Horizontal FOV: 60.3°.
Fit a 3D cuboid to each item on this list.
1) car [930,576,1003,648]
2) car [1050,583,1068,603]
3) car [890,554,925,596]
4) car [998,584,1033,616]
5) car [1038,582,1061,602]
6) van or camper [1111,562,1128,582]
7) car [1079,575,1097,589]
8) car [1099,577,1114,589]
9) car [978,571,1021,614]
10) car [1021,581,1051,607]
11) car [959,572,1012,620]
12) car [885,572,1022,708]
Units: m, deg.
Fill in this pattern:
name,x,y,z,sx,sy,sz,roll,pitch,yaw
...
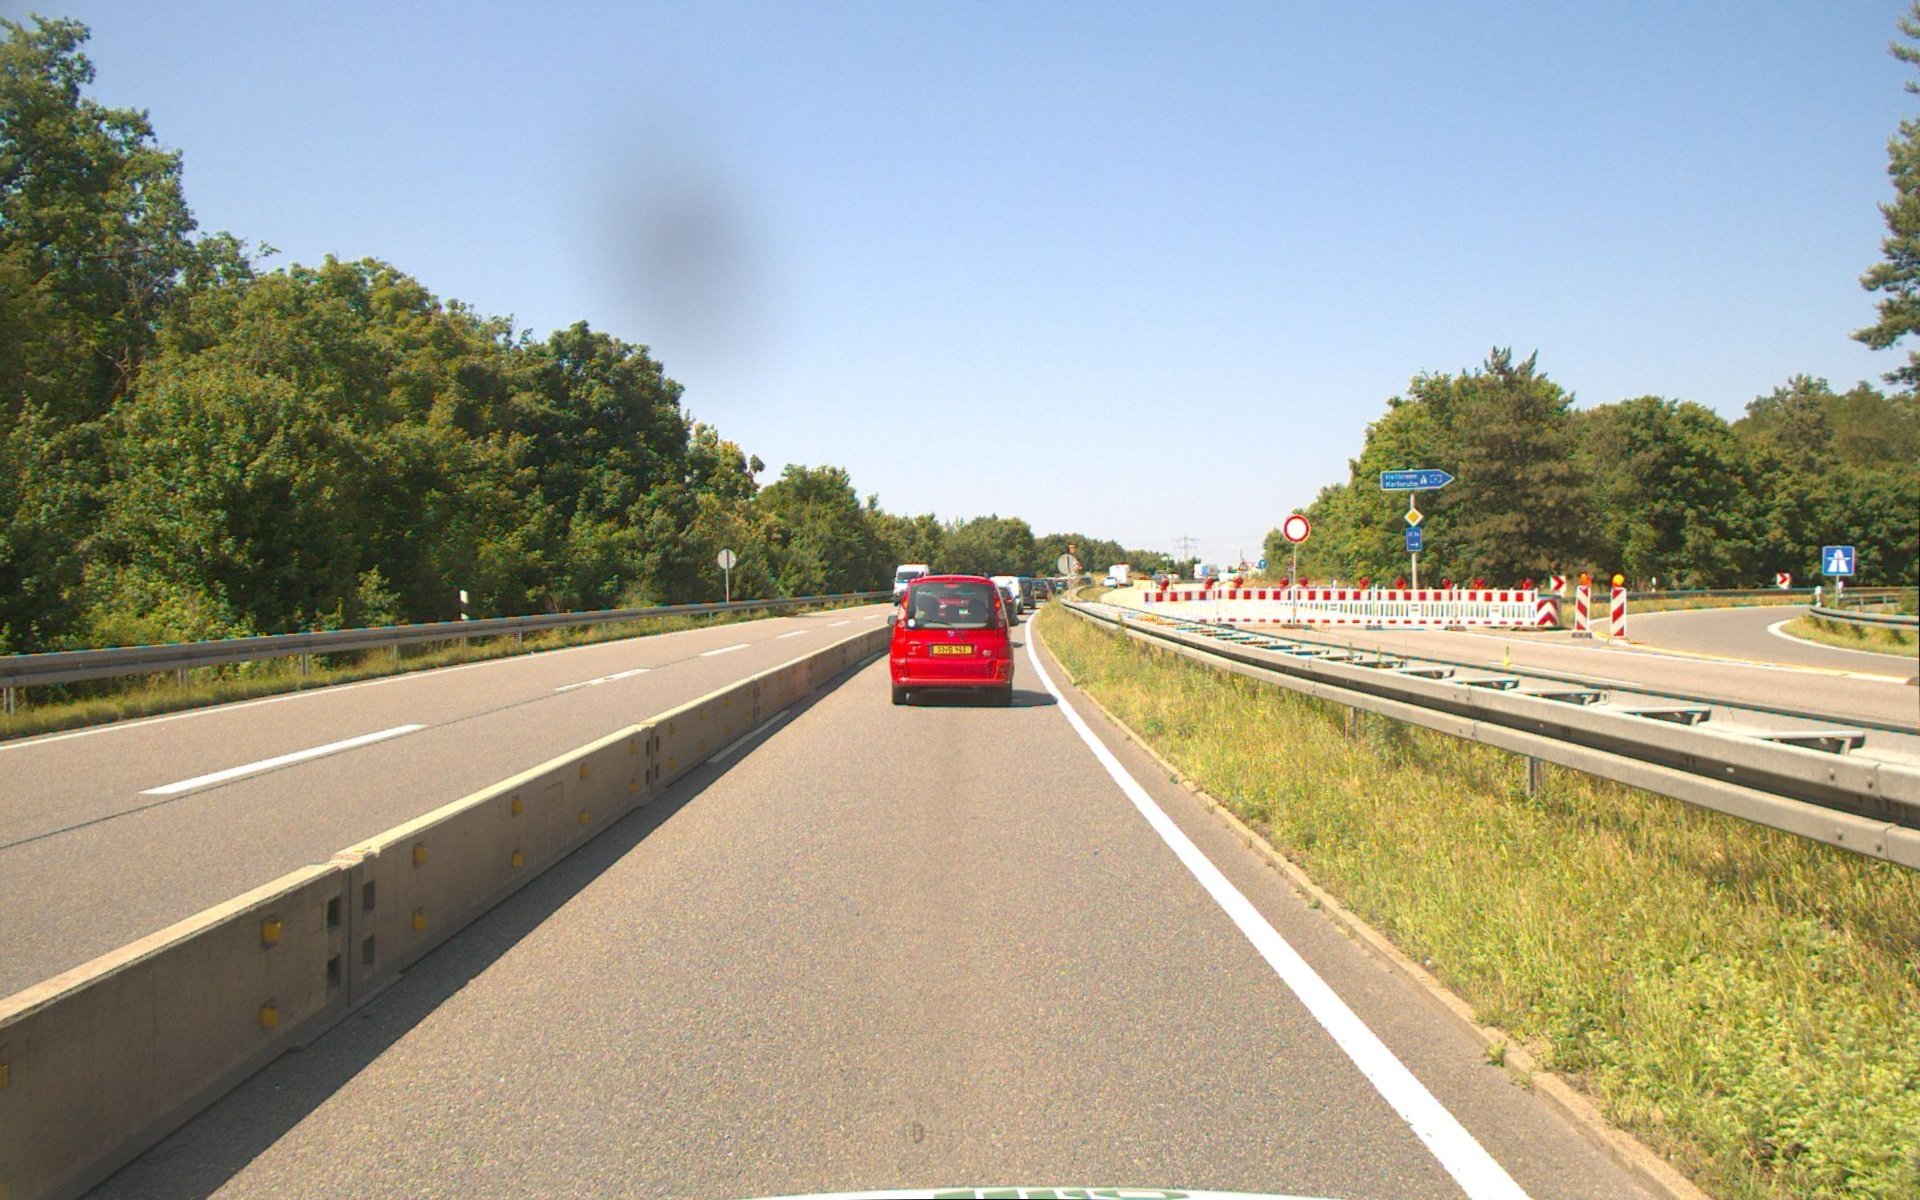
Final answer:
name,x,y,z,sx,sy,sz,roll,pitch,yaw
car,0.167,0.287,42.789,1.793,1.752,4.000,-1,0,0
car,9.227,-0.650,153.702,1.470,1.767,3.172,-1,0,7
car,-3.253,-1.532,103.123,2.019,2.528,5.560,0,0,0
car,3.207,-0.018,95.581,1.952,1.780,4.001,-1,0,2
car,7.550,-0.690,139.675,1.952,1.612,4.002,-1,0,3
van or camper,22.795,-3.964,236.660,2.279,2.754,4.596,-1,0,4
car,14.864,-2.104,191.646,1.951,1.579,4.003,-1,0,6
car,19.926,-2.300,225.151,1.951,1.512,4.003,-1,0,5
car,1.942,-0.383,82.642,1.953,2.038,3.999,-1,0,-1
car,5.562,-0.448,121.301,1.953,1.814,3.999,-1,0,-1
car,1.067,-0.171,67.283,1.952,1.870,4.002,-1,0,3
car,-0.026,0.501,22.976,1.715,1.702,4.001,1,0,2
